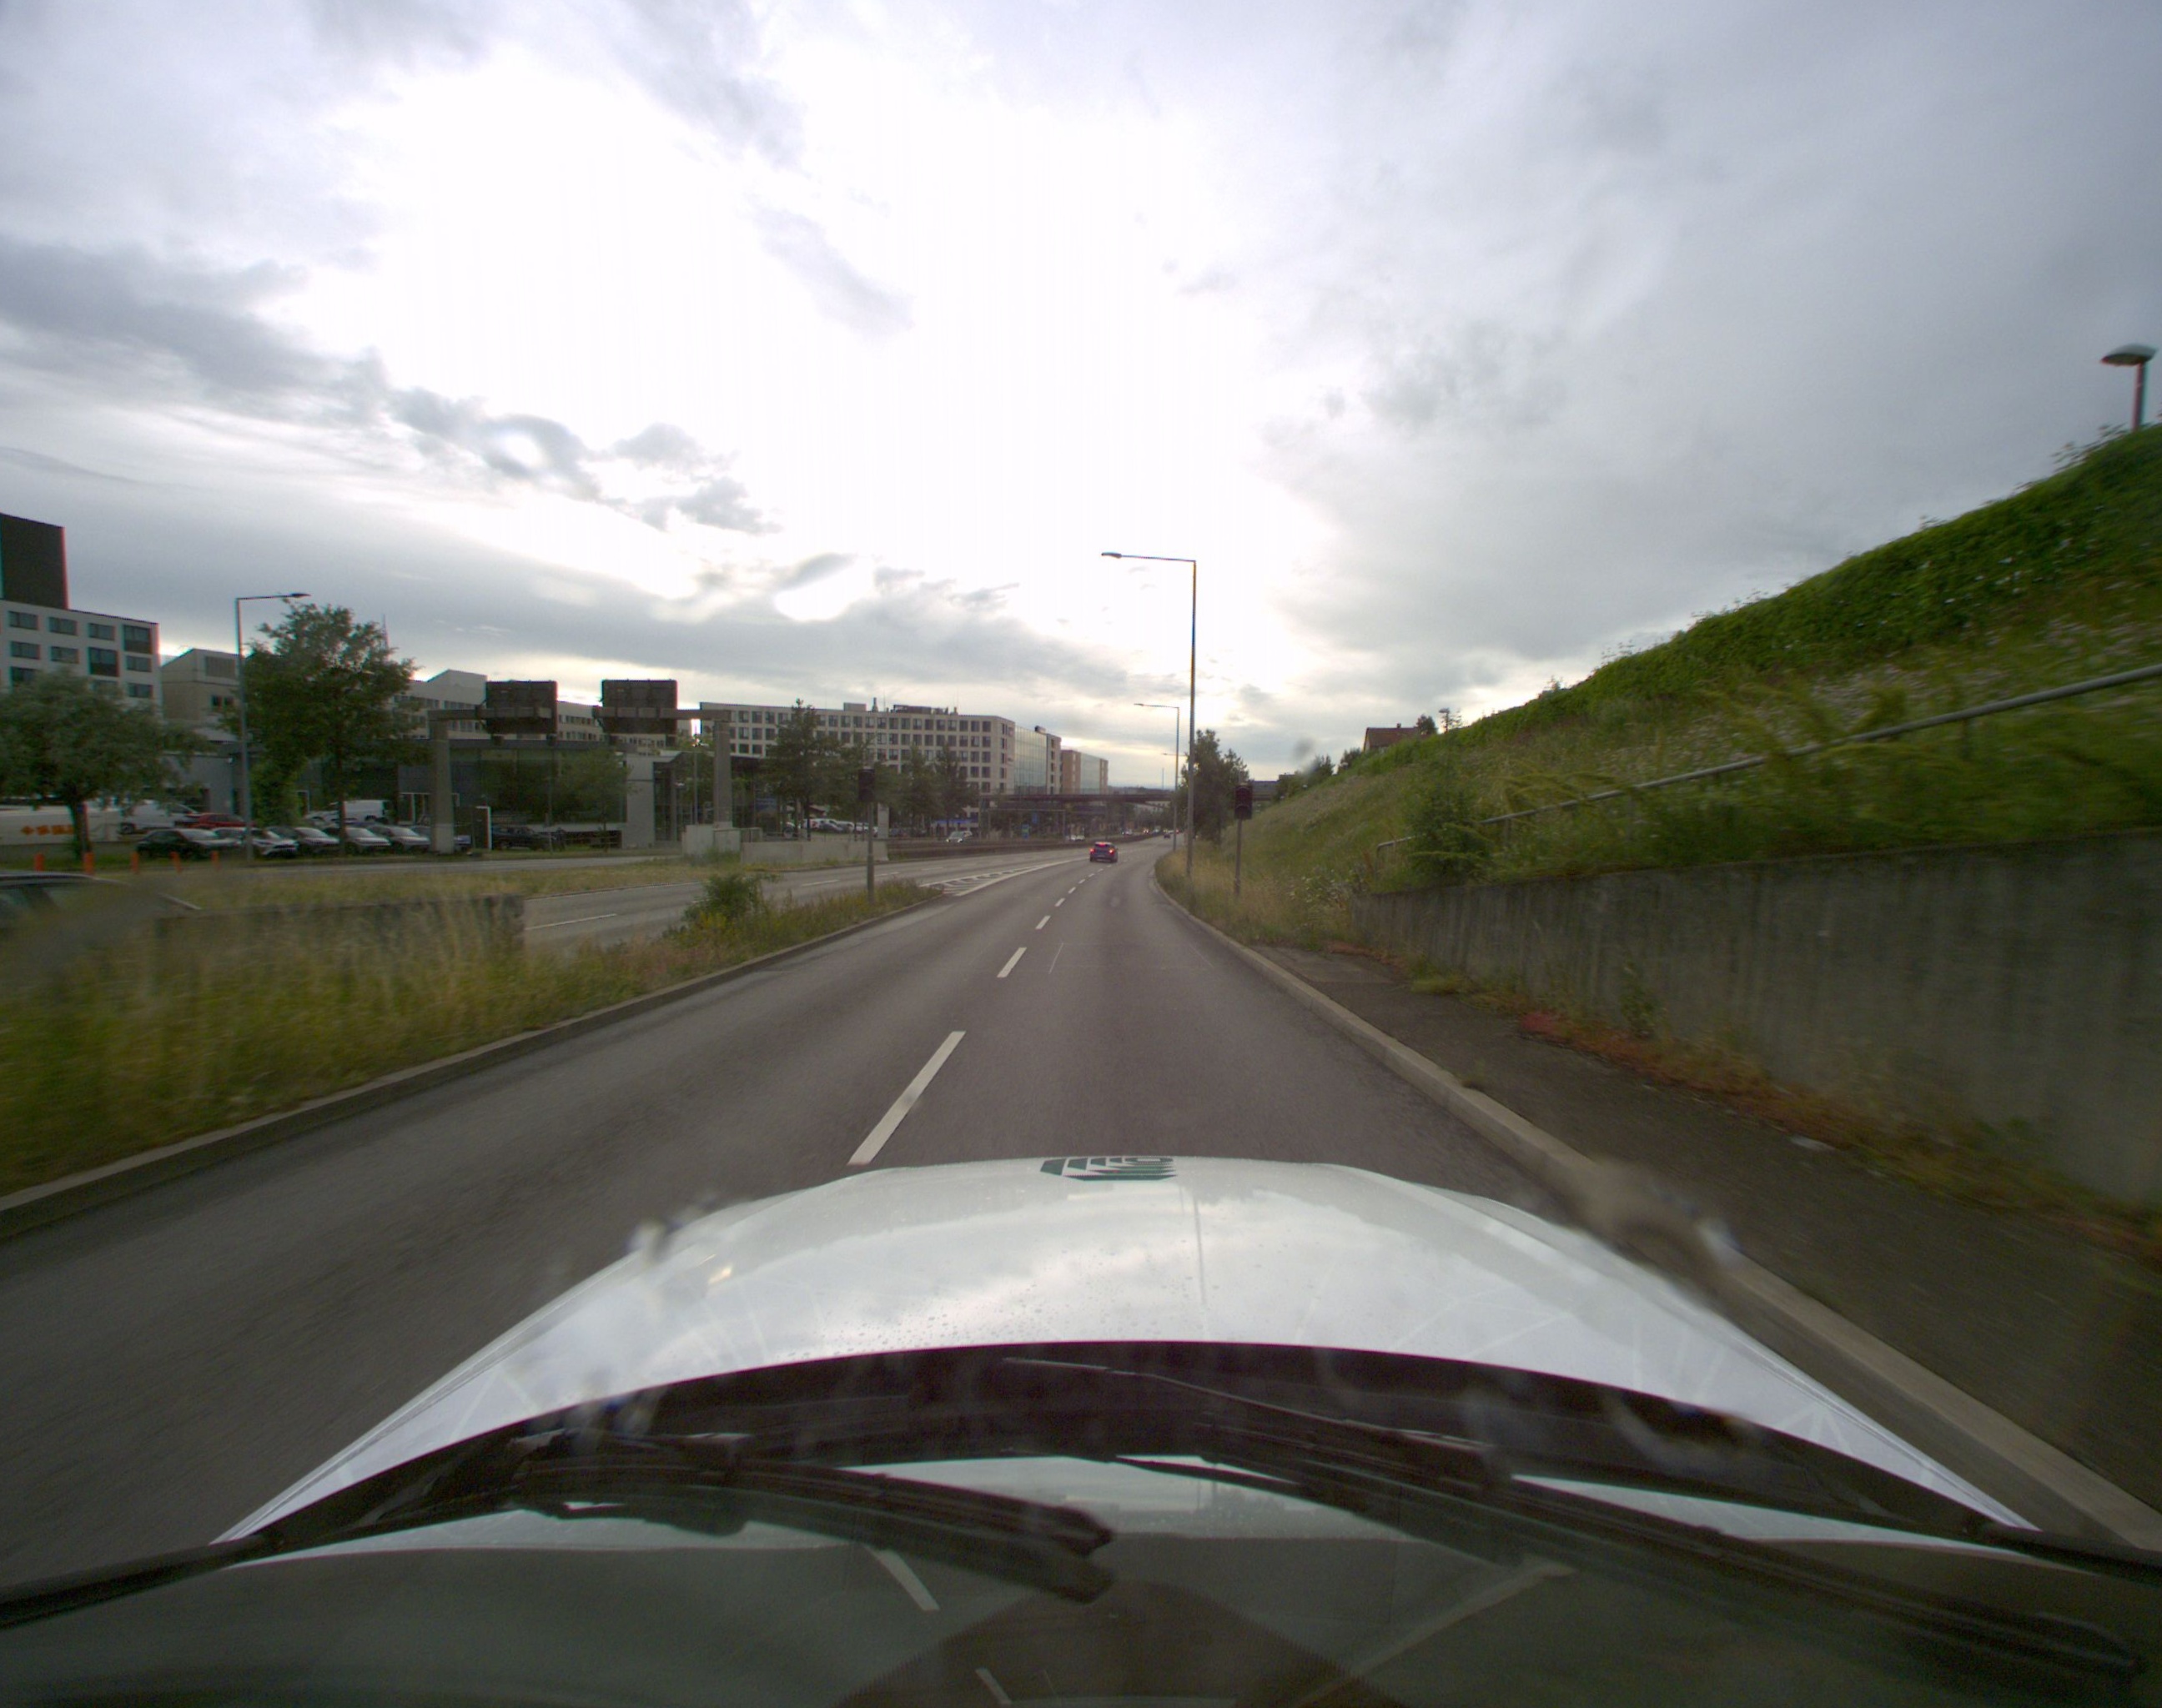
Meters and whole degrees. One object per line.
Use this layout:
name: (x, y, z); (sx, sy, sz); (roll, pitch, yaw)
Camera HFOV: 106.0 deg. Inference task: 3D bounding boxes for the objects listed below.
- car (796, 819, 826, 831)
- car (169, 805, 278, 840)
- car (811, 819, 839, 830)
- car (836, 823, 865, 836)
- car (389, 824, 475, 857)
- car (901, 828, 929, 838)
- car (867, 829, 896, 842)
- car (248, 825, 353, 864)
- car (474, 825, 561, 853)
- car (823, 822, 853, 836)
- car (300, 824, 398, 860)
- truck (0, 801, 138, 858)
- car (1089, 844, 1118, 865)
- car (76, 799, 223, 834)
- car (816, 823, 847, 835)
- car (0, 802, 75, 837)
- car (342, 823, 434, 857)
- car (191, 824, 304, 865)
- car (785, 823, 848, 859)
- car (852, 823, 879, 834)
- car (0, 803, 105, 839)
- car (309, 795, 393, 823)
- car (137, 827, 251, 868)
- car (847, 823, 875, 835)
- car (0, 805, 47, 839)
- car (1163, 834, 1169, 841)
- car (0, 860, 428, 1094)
car: (-42.691, -4.540, 128.668); (3.966, 1.650, 2.005); (3, 4, 6)
car: (-50.934, -1.897, 48.493); (1.888, 1.880, 4.017); (4, 4, 15)
car: (-42.445, -4.896, 134.997); (3.968, 1.650, 1.825); (3, 4, 5)
car: (-36.544, -3.915, 129.037); (3.959, 1.875, 2.008); (4, 4, 13)
car: (-39.722, -0.855, 49.899); (3.963, 1.683, 1.929); (4, 4, 9)
car: (-26.961, -3.385, 132.600); (3.962, 1.353, 1.855); (4, 2, 10)
car: (-29.454, -2.750, 120.255); (4.001, 1.650, 1.987); (3, 2, -21)
car: (-40.970, -0.535, 42.801); (3.963, 1.683, 1.929); (4, 4, 9)
car: (-38.367, -1.056, 55.542); (1.900, 1.683, 4.530); (5, 5, 27)
car: (-37.785, -3.818, 126.807); (3.959, 2.013, 2.008); (2, 1, 13)
car: (-40.591, -0.702, 45.196); (3.963, 1.683, 1.929); (4, 4, 9)
truck: (-50.936, -1.201, 38.893); (2.351, 2.526, 7.437); (4, 4, 11)
car: (1.708, 0.021, 60.277); (1.739, 1.420, 3.486); (0, 1, 8)
car: (-56.369, -2.238, 49.463); (1.979, 1.881, 5.559); (4, 3, 15)
car: (-38.027, -3.826, 124.125); (3.966, 1.650, 2.005); (3, 4, 6)
car: (-56.325, -1.828, 42.692); (1.904, 1.683, 4.017); (4, 4, 14)
car: (-40.296, -0.850, 47.408); (3.963, 1.683, 1.929); (4, 4, 9)
car: (-41.371, -0.492, 40.470); (3.963, 1.683, 1.929); (4, 4, 9)
car: (-13.700, -0.714, 42.368); (1.679, 1.589, 3.557); (3, 4, 7)
car: (-36.237, -4.337, 137.024); (3.959, 1.650, 2.008); (4, 4, 13)
car: (-53.606, -1.739, 41.795); (1.904, 1.683, 4.017); (4, 4, 14)
car: (-52.020, -3.192, 58.108); (4.002, 1.781, 1.911); (1, 4, -21)
car: (-41.725, -0.316, 38.349); (3.977, 1.599, 1.704); (4, 4, 9)
car: (-36.270, -4.100, 134.452); (3.959, 1.650, 2.008); (4, 4, 13)
car: (-58.441, -1.690, 43.151); (1.904, 1.683, 4.017); (4, 4, 14)
car: (25.274, -4.966, 242.158); (1.854, 1.749, 4.008); (3, 4, 5)
car: (-8.865, 0.953, 7.346); (1.742, 1.617, 4.757); (2, 1, 6)
